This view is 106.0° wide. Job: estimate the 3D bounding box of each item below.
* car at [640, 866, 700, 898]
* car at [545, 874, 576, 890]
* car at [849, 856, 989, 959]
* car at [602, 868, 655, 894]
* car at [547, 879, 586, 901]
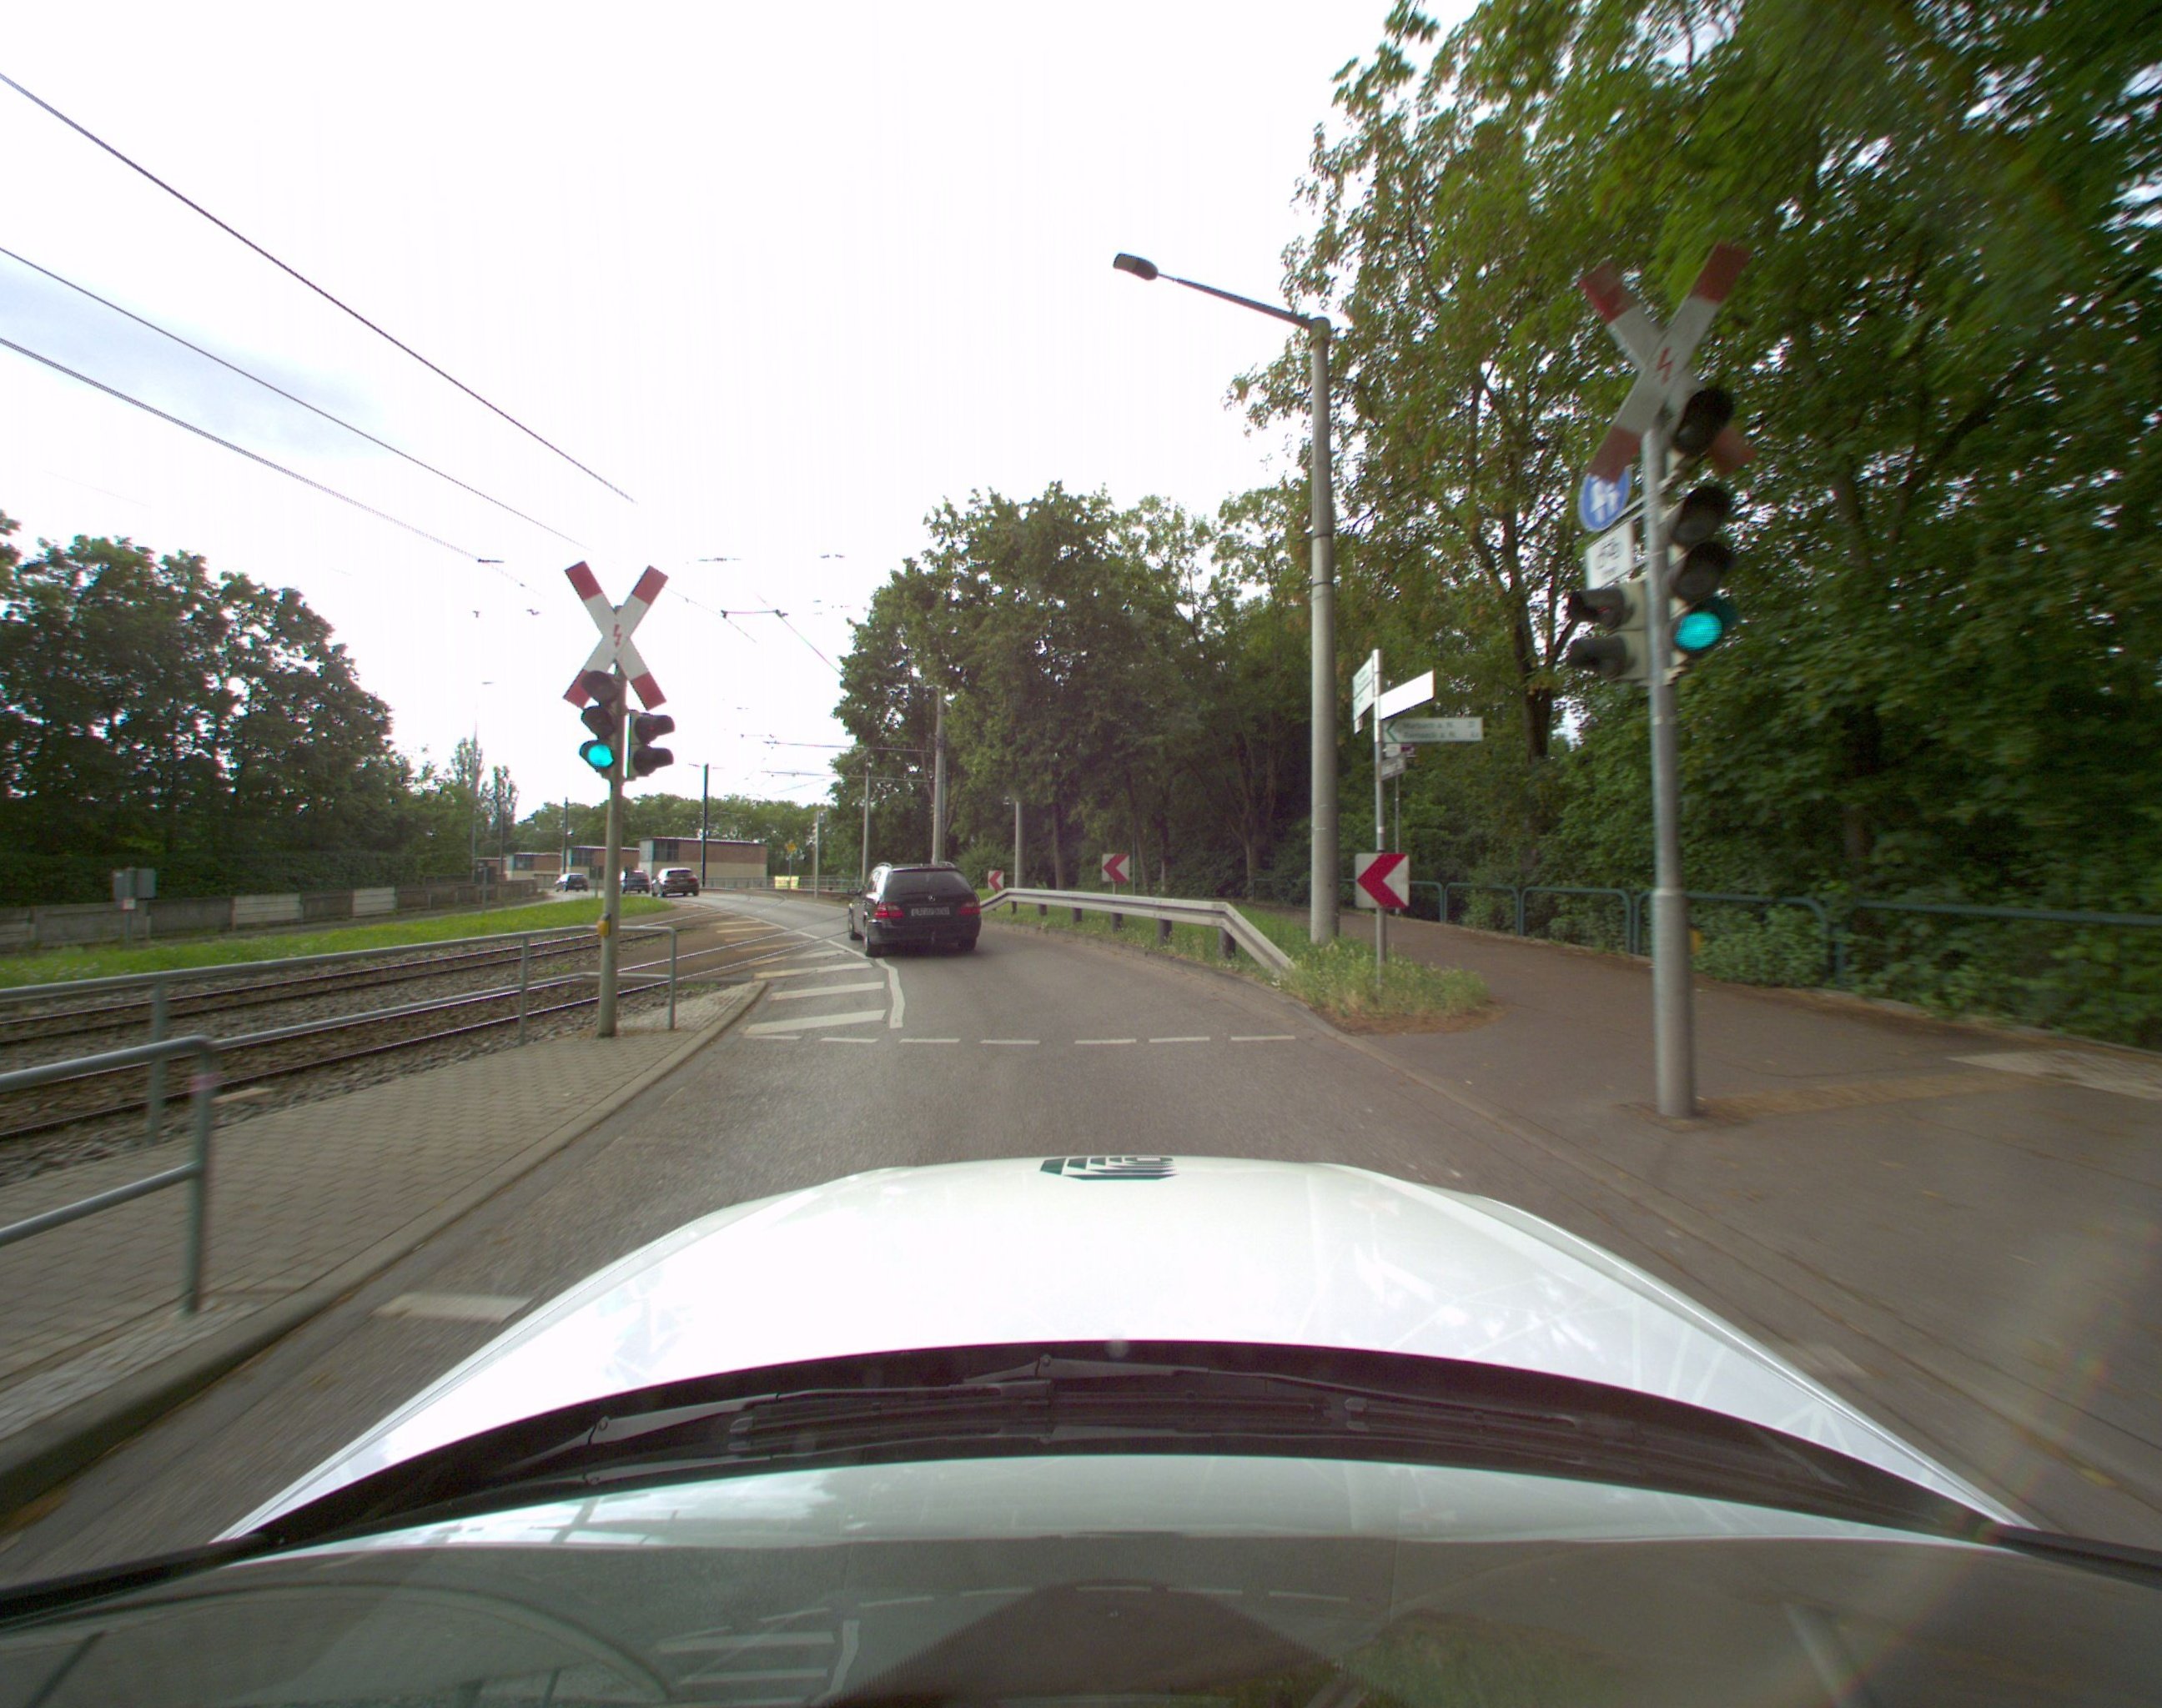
[{"bbox_3d":[-21.871,1.470,43.253,1.786,1.555,4.189,-1,-1,-43],"label":"car"},{"bbox_3d":[-55.013,2.971,86.101,2.010,1.571,4.846,3,-4,-41],"label":"car"},{"bbox_3d":[-3.048,0.835,14.564,1.765,1.516,4.411,-1,-1,-20],"label":"car"},{"bbox_3d":[-29.729,1.747,53.446,2.011,1.564,4.937,-1,0,-42],"label":"car"},{"bbox_3d":[-41.302,2.852,65.334,2.011,1.673,4.486,-1,-1,-41],"label":"car"}]
